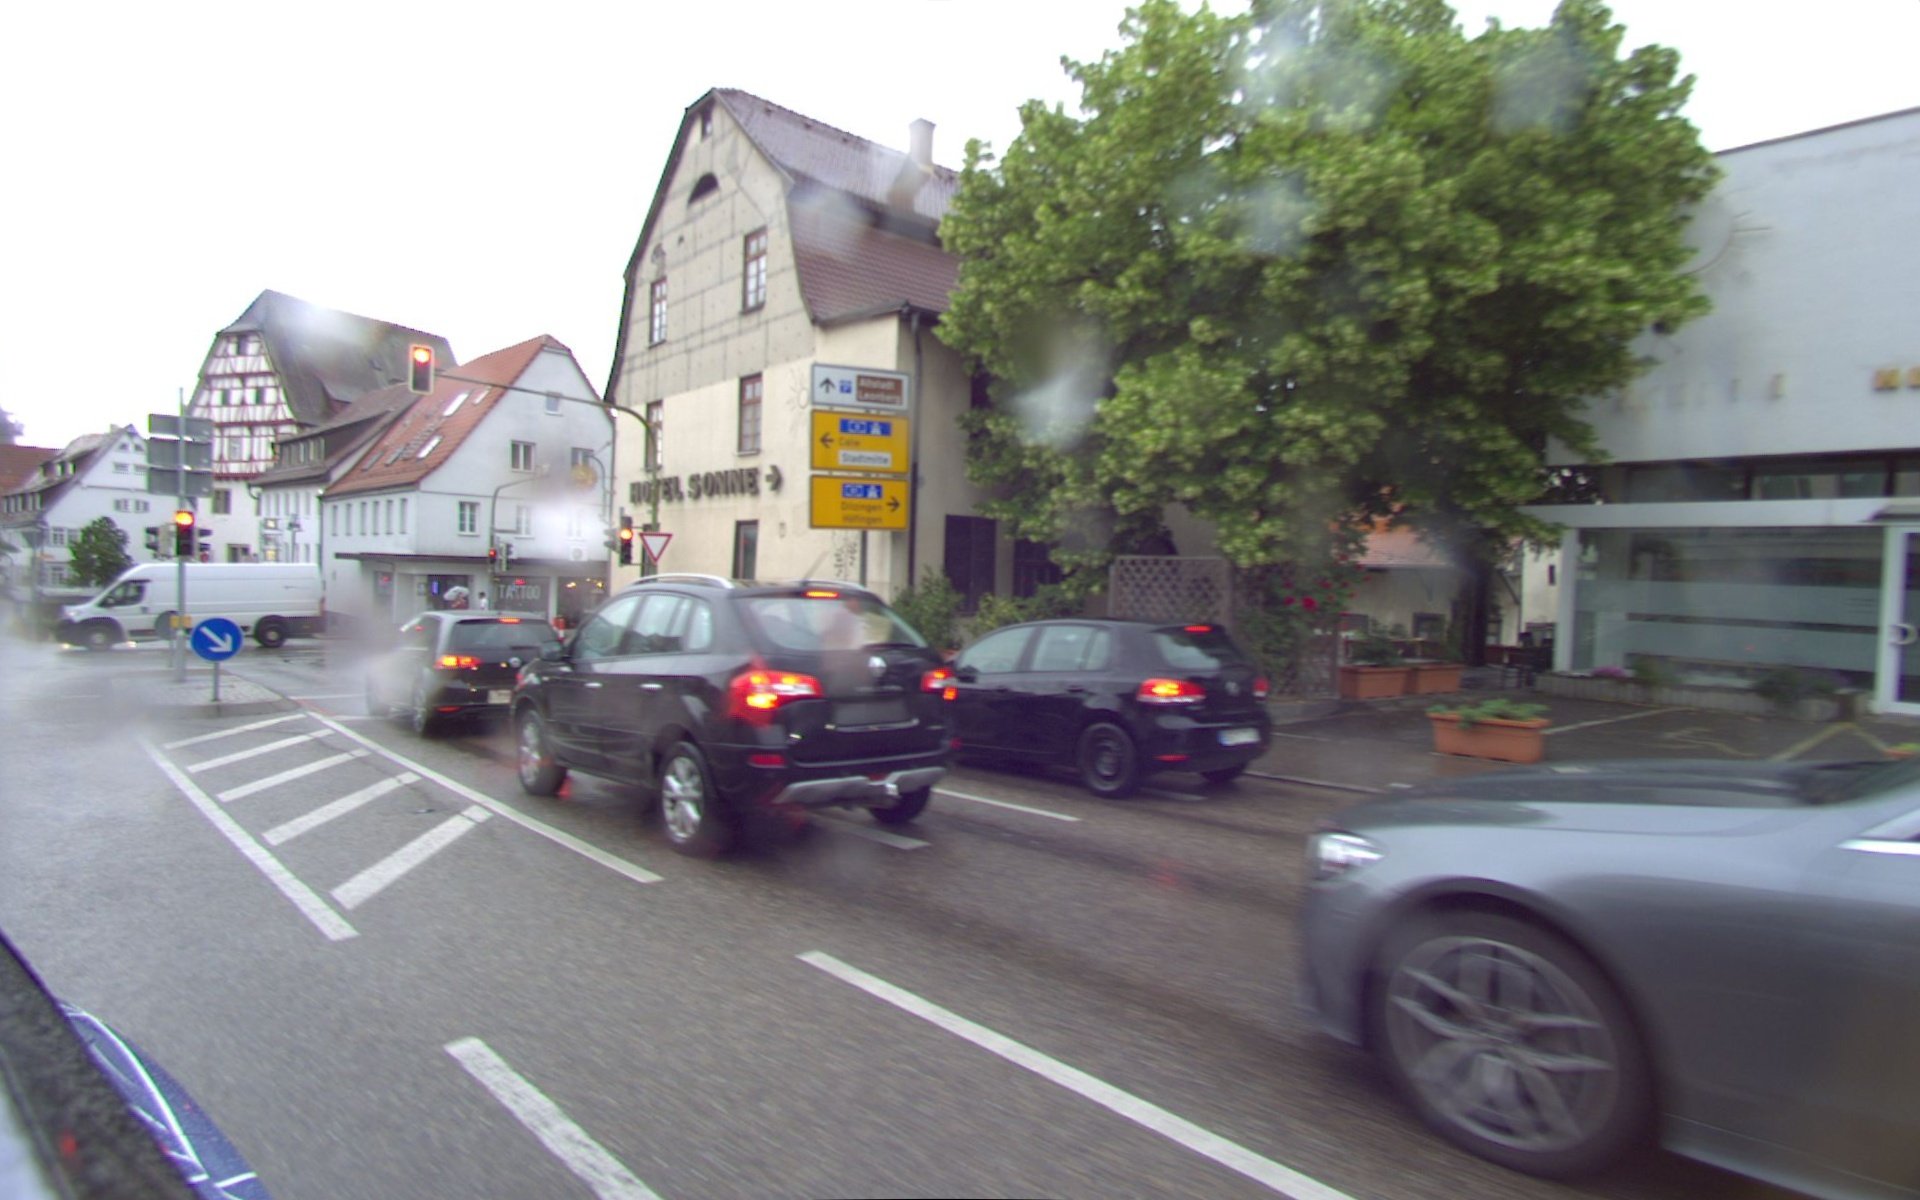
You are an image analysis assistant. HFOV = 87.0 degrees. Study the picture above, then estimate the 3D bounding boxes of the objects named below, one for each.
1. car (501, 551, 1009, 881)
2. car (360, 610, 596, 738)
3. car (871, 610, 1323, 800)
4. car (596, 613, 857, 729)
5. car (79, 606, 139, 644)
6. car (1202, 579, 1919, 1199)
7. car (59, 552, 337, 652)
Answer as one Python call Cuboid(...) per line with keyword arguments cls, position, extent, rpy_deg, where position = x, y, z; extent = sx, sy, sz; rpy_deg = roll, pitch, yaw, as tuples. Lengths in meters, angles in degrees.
Cuboid(cls="car", position=(-1.750, 0.607, 7.363), extent=(1.825, 1.676, 4.226), rpy_deg=(0, -1, -40))
Cuboid(cls="car", position=(-6.247, 0.820, 12.918), extent=(1.791, 1.374, 3.753), rpy_deg=(0, -1, -41))
Cuboid(cls="car", position=(1.062, 0.783, 9.437), extent=(1.716, 1.364, 4.065), rpy_deg=(0, -1, -41))
Cuboid(cls="car", position=(-3.306, 0.845, 13.787), extent=(1.825, 1.303, 4.039), rpy_deg=(0, -1, -40))
Cuboid(cls="car", position=(-37.003, 1.067, 43.992), extent=(1.703, 1.559, 4.003), rpy_deg=(0, -1, -45))
Cuboid(cls="car", position=(3.140, 0.678, 1.965), extent=(1.917, 1.451, 5.023), rpy_deg=(0, -1, -41))
Cuboid(cls="car", position=(-22.318, 0.064, 29.988), extent=(6.408, 2.709, 2.004), rpy_deg=(0, -1, -38))
